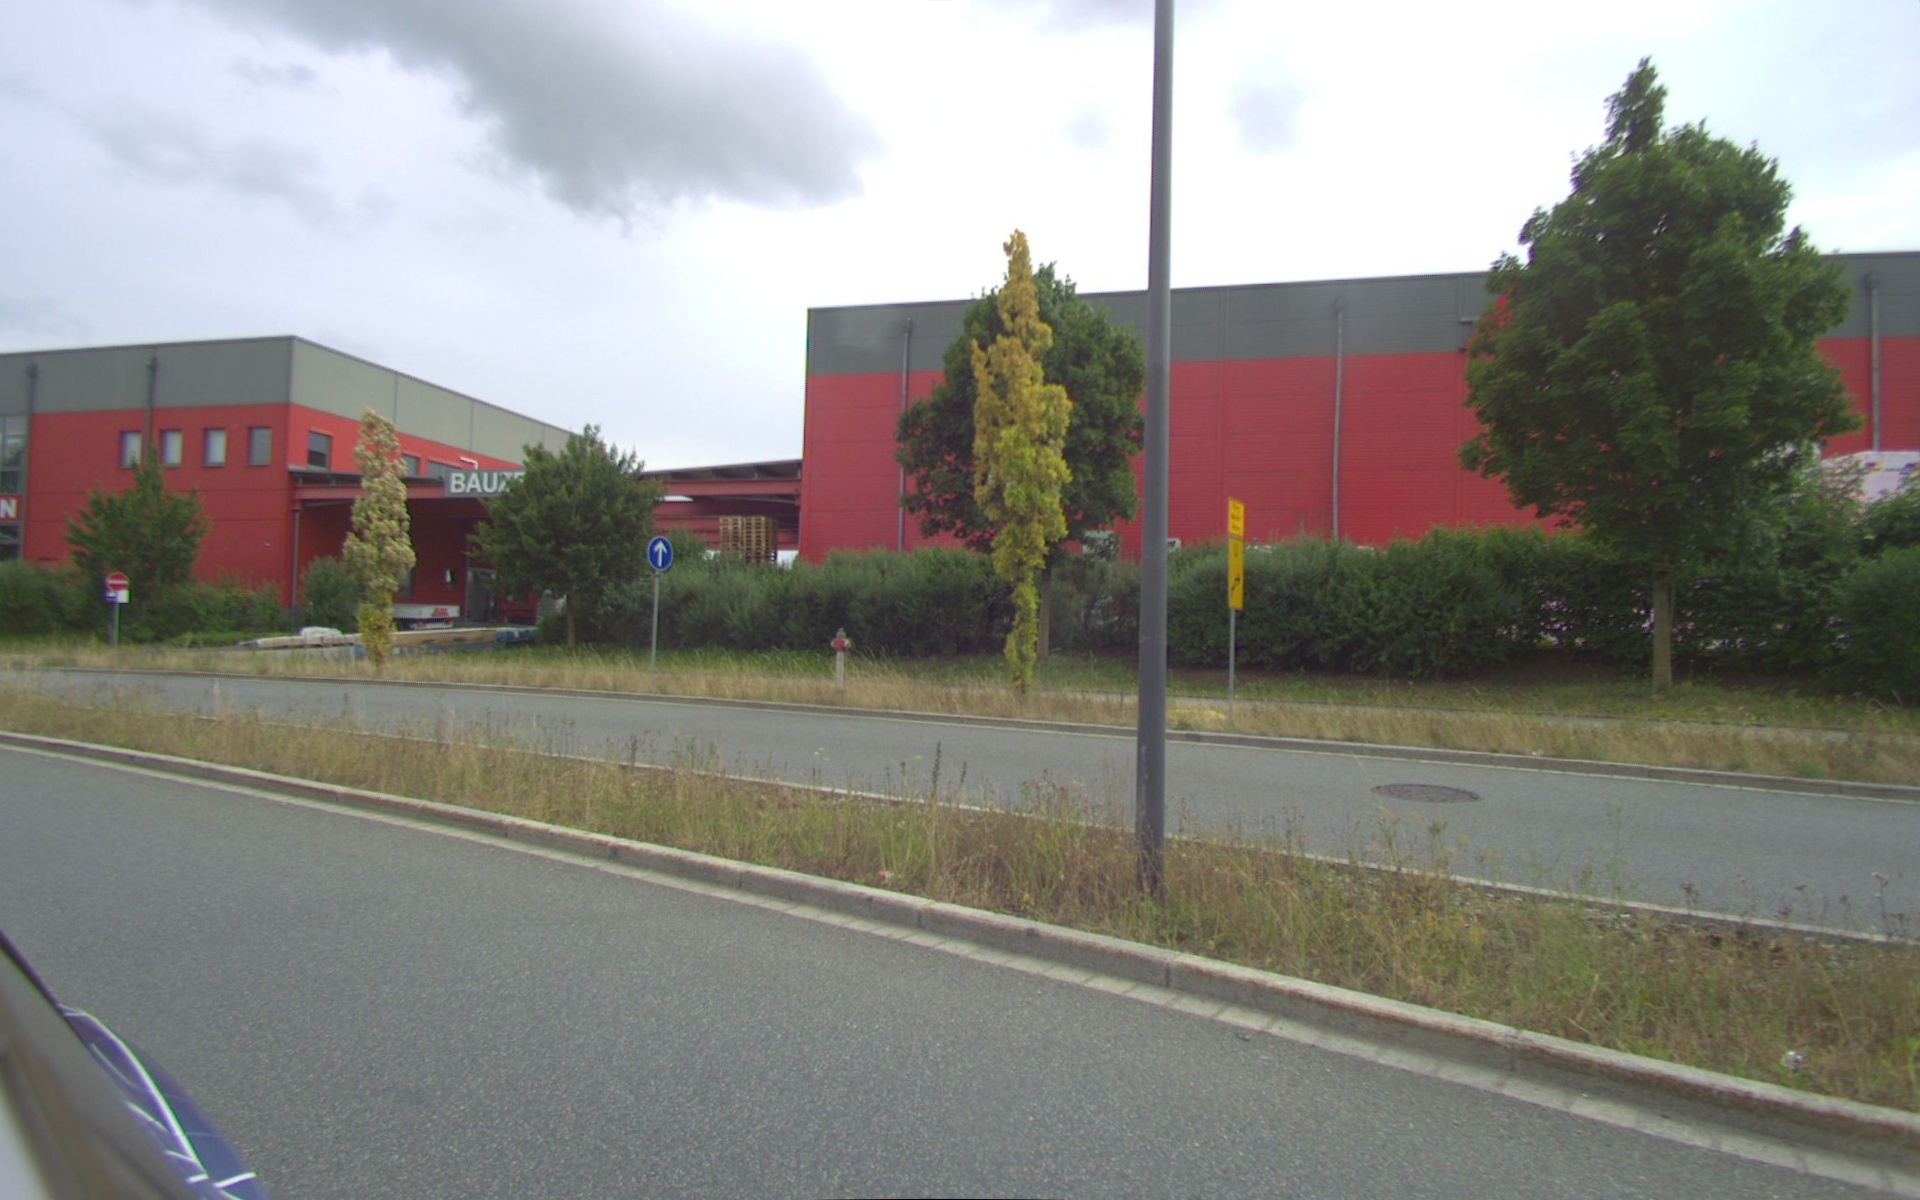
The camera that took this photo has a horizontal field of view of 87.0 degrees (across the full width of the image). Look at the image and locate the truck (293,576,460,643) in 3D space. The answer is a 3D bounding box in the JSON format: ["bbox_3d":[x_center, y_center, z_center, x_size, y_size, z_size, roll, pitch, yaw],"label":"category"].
[{"bbox_3d":[-22.786,0.361,39.574,5.848,2.506,2.031,1,-1,13],"label":"truck"}]
